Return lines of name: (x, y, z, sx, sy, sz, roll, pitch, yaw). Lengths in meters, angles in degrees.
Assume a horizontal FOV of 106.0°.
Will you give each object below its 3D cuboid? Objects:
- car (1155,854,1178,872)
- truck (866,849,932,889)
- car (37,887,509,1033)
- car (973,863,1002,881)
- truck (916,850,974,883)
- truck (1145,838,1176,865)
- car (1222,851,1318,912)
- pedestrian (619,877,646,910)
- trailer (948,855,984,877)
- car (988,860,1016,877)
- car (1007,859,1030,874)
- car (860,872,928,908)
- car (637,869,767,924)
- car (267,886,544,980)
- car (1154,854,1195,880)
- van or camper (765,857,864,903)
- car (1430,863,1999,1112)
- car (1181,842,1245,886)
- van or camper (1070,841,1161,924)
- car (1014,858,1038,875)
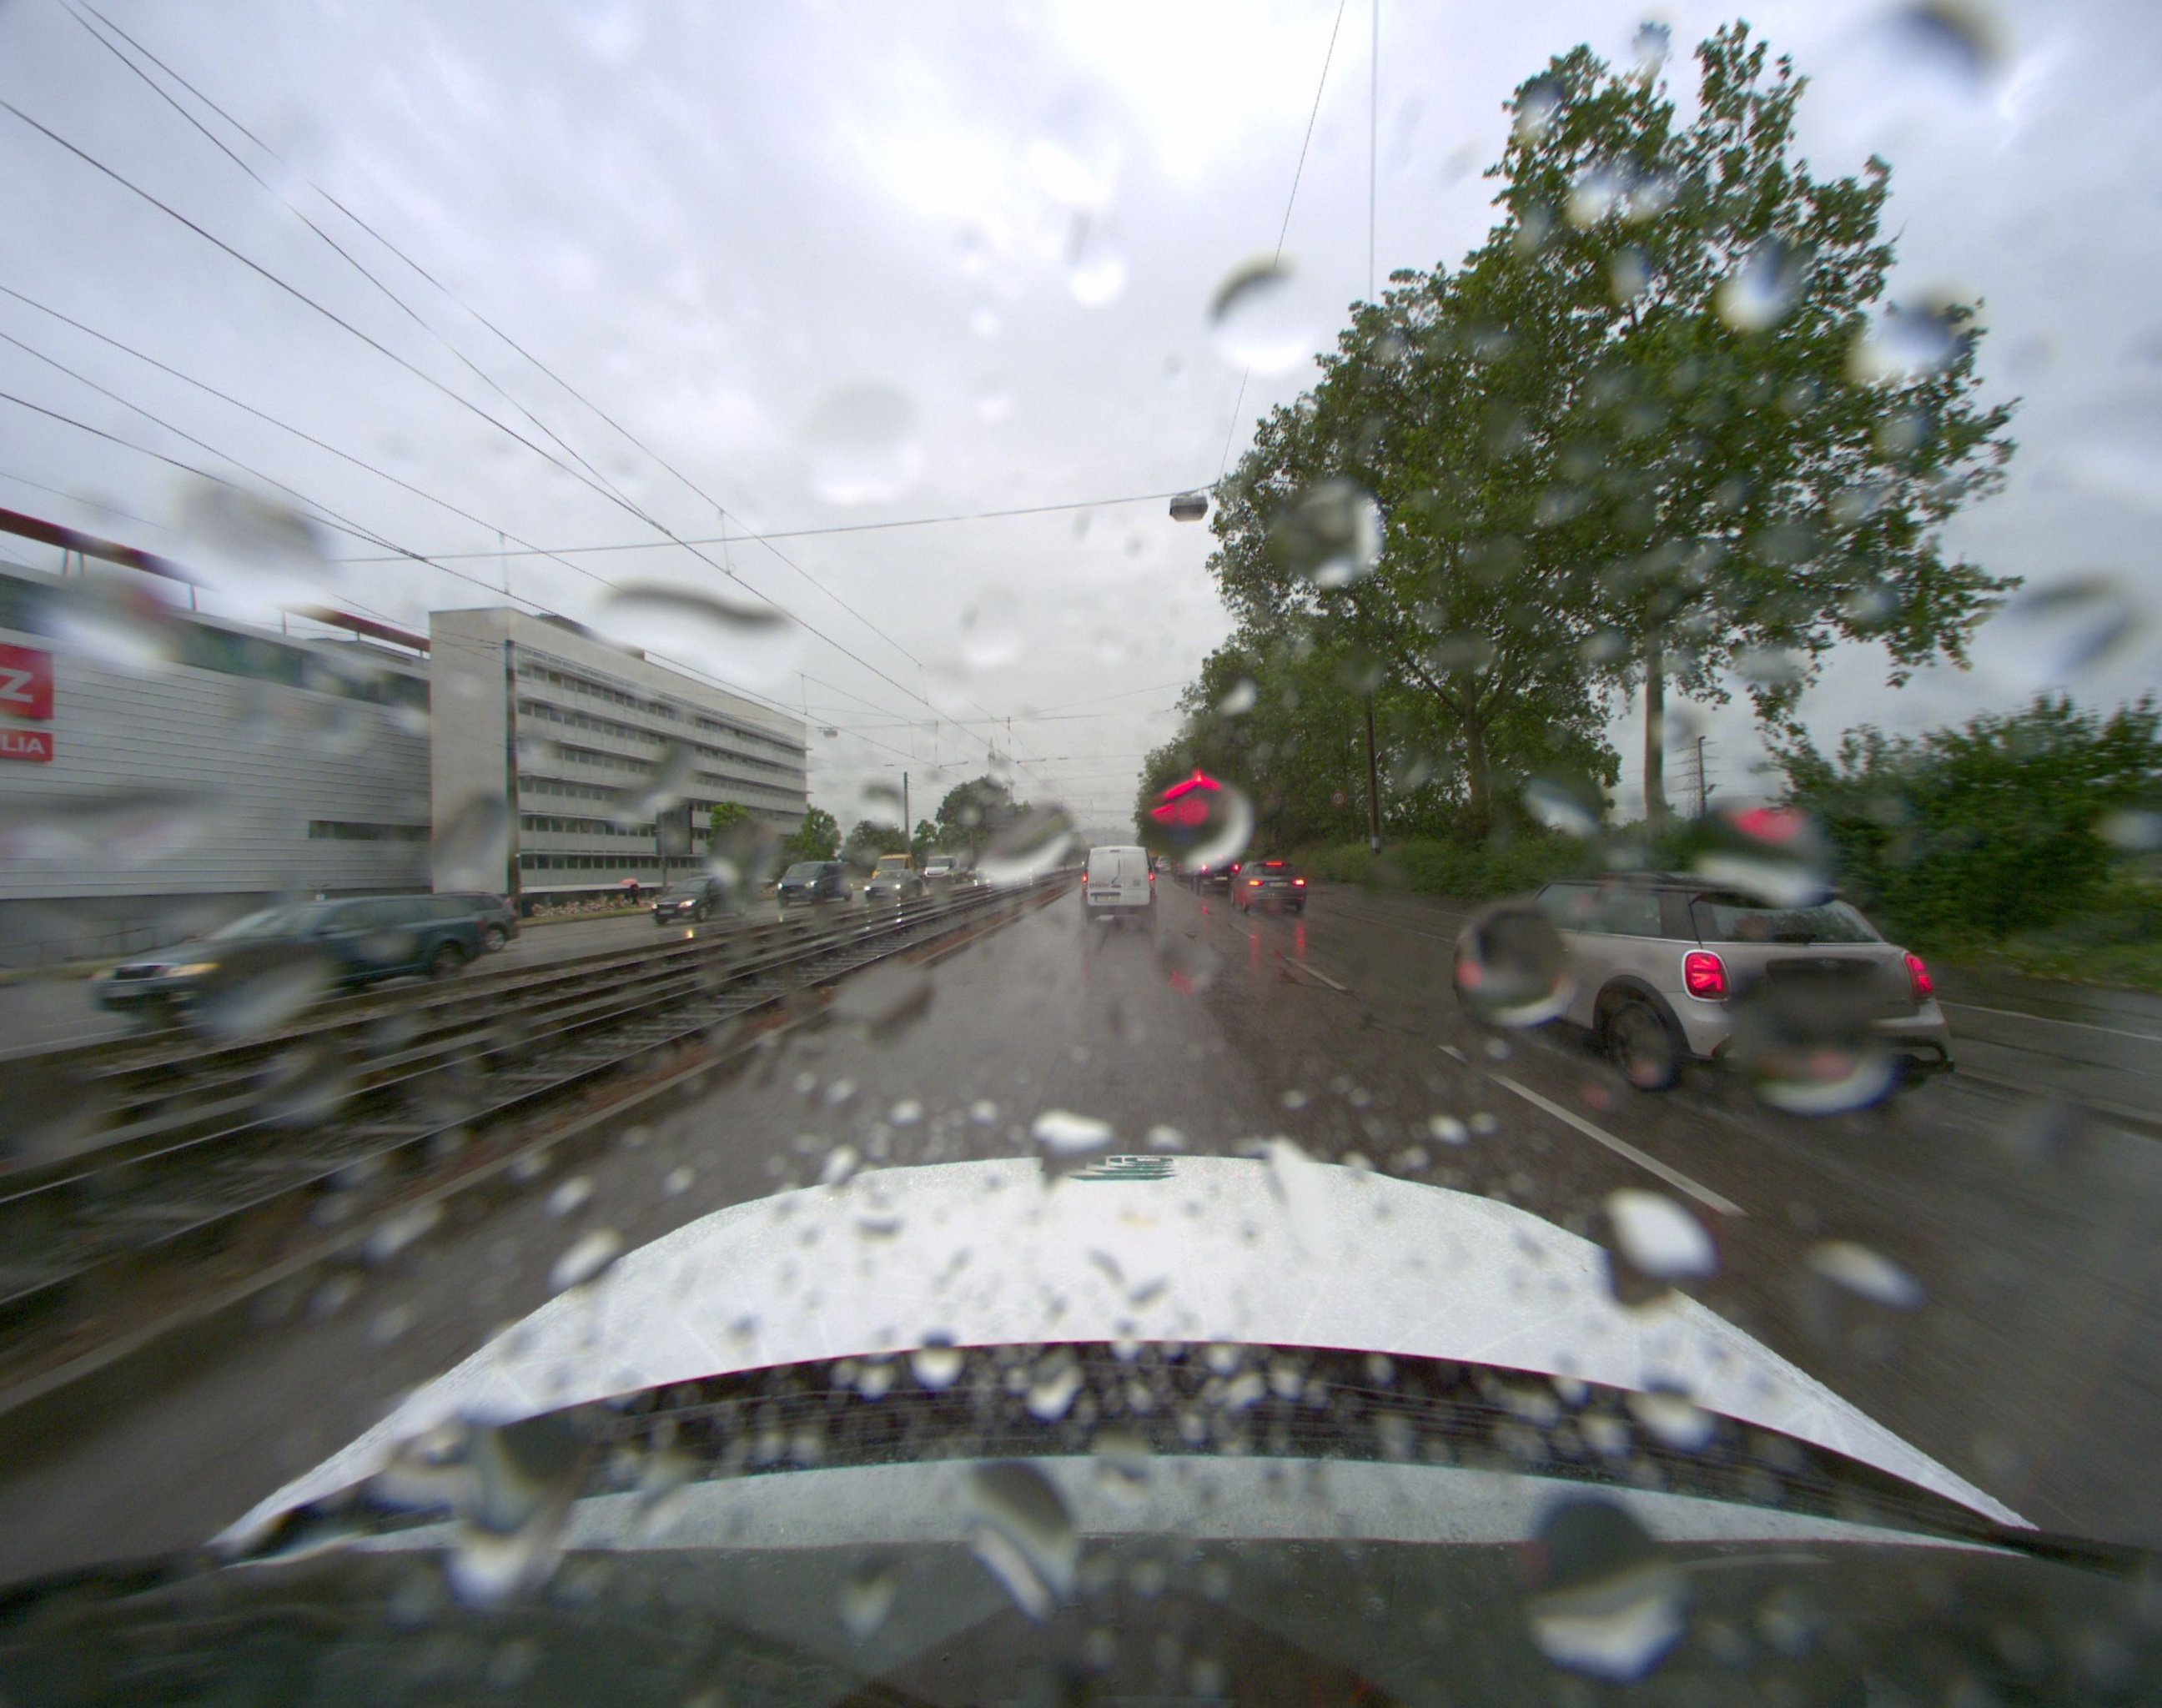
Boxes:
car: (7.028, 0.731, 67.327, 1.810, 1.414, 3.783, -1, 1, 4)
truck: (-11.708, 0.930, 52.788, 2.215, 2.462, 6.079, 0, 0, 7)
car: (-11.210, 1.348, 11.958, 1.984, 1.457, 4.677, -4, -1, 4)
car: (-9.015, 1.724, 78.613, 1.762, 1.682, 4.697, 0, 0, 6)
truck: (-10.543, 0.937, 63.821, 2.422, 2.458, 7.234, 0, 0, 7)
truck: (8.451, -0.261, 87.005, 3.099, 2.773, 6.335, -1, 0, 4)
car: (5.290, 0.710, 23.301, 1.960, 1.528, 3.993, -1, 1, 2)
pedestrian: (-24.572, 2.169, 44.660, 0.818, 1.763, 1.052, 1, -1, 6)
trailer: (-9.783, 1.015, 69.754, 2.108, 1.793, 3.843, 0, 0, 6)
car: (-8.401, 1.486, 86.791, 1.983, 1.583, 4.774, -3, 0, 6)
car: (-7.571, 1.508, 99.435, 1.984, 1.721, 4.887, -3, 0, 4)
car: (-9.032, 1.709, 39.731, 1.850, 1.494, 4.694, -3, -1, 4)
car: (-13.230, 1.421, 28.829, 1.849, 1.618, 4.915, -3, -1, 6)
car: (-14.330, 1.585, 17.729, 1.955, 1.516, 4.559, -4, -1, 4)
car: (5.515, 0.726, 48.467, 1.814, 1.414, 3.774, -1, 1, -3)
van or camper: (-12.488, 1.166, 38.641, 2.293, 2.013, 5.695, 0, 0, 6)
car: (4.509, 0.801, 6.670, 1.784, 1.414, 3.856, 1, -1, 2)
car: (5.501, 0.367, 34.531, 1.894, 1.716, 4.724, -1, 1, -1)
van or camper: (0.811, 0.600, 19.804, 1.986, 1.784, 4.002, 0, 1, 1)
car: (-5.726, 1.281, 84.546, 1.810, 1.623, 4.541, -2, 0, 4)
